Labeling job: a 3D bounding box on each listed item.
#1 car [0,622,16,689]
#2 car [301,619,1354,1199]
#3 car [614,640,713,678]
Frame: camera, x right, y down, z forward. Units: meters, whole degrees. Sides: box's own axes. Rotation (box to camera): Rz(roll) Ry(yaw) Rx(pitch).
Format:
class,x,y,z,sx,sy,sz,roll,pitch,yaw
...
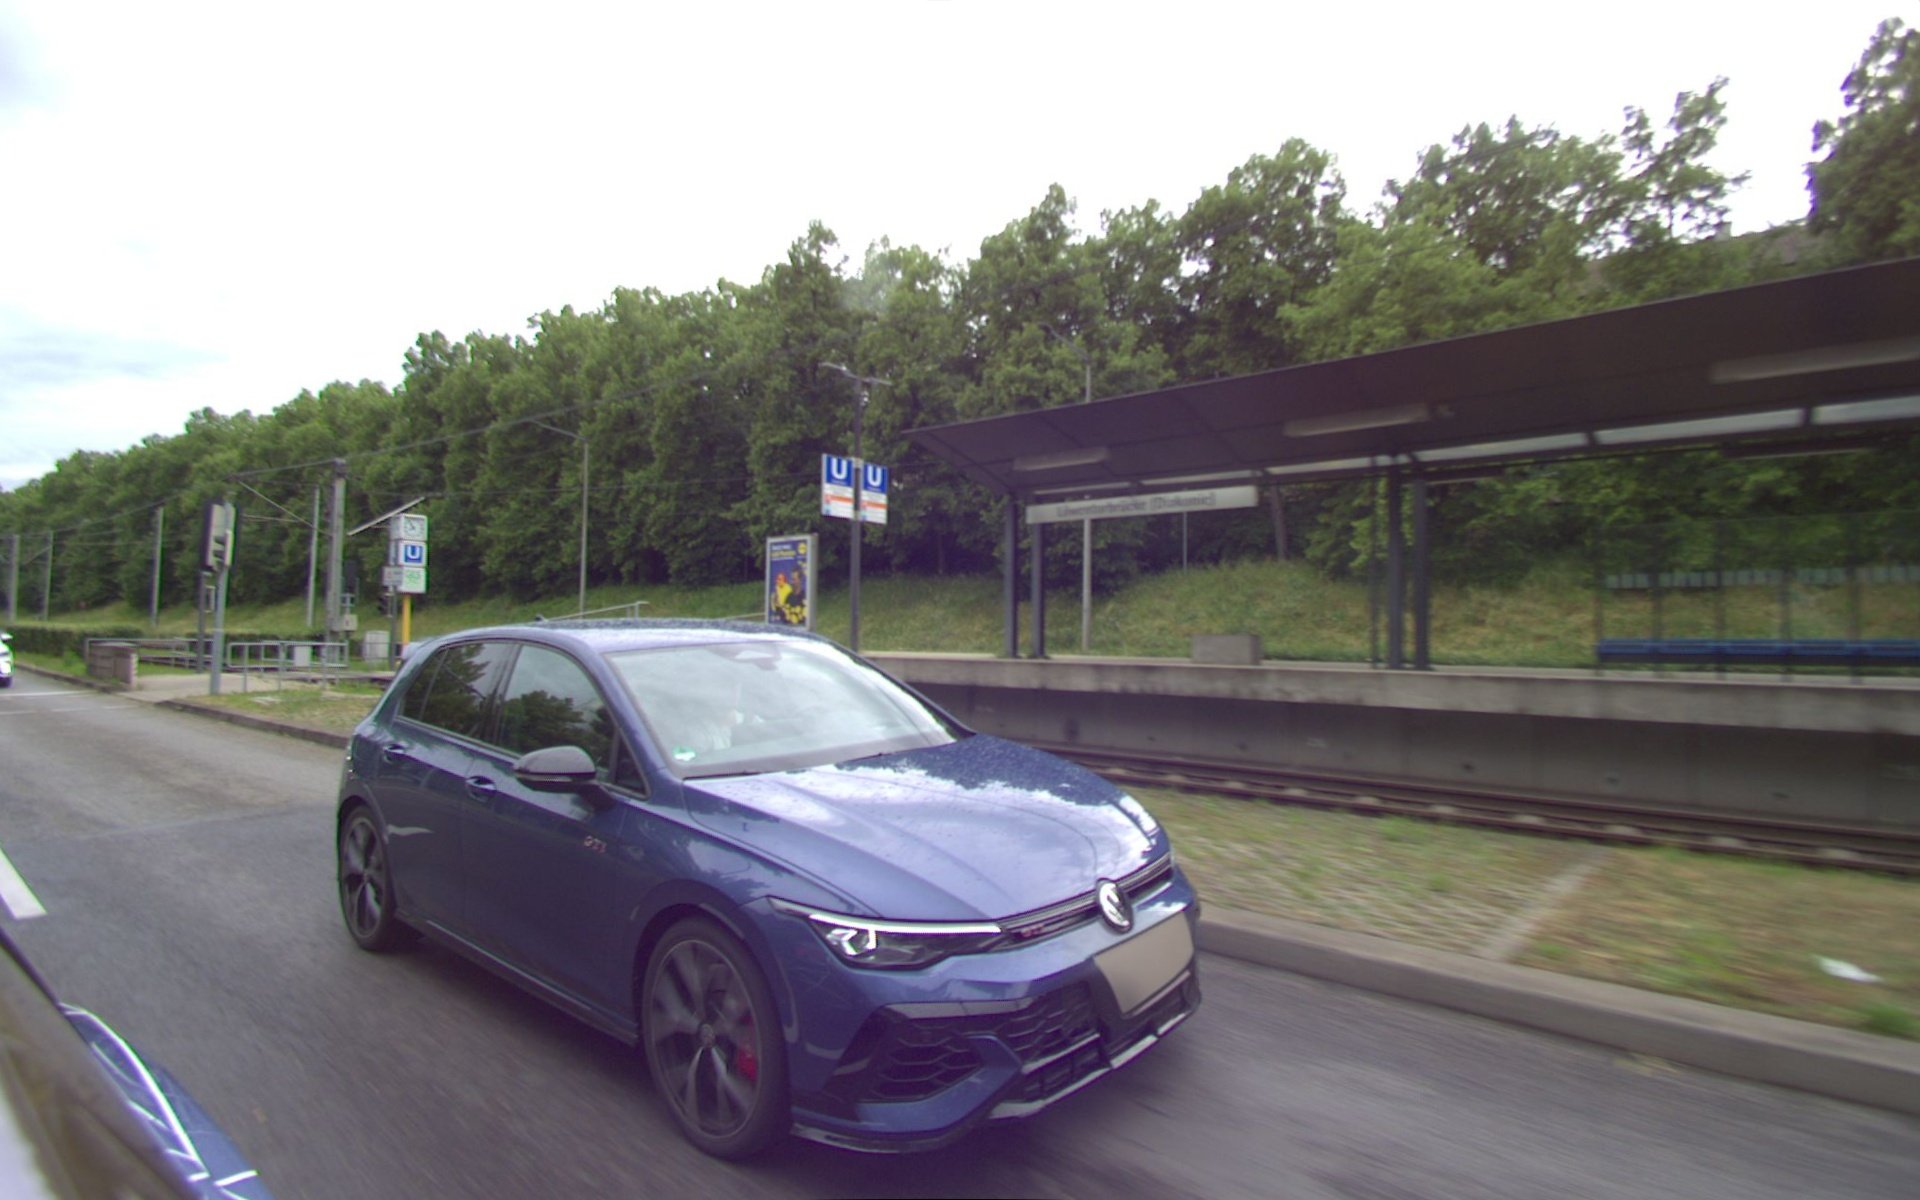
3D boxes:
class,x,y,z,sx,sy,sz,roll,pitch,yaw
car,-23.408,1.242,23.397,4.699,1.476,1.934,-1,-3,43
car,-0.926,0.795,4.086,4.344,1.389,1.789,-2,-2,41
car,-12.070,2.362,41.148,3.992,1.414,1.780,-1,-3,36
